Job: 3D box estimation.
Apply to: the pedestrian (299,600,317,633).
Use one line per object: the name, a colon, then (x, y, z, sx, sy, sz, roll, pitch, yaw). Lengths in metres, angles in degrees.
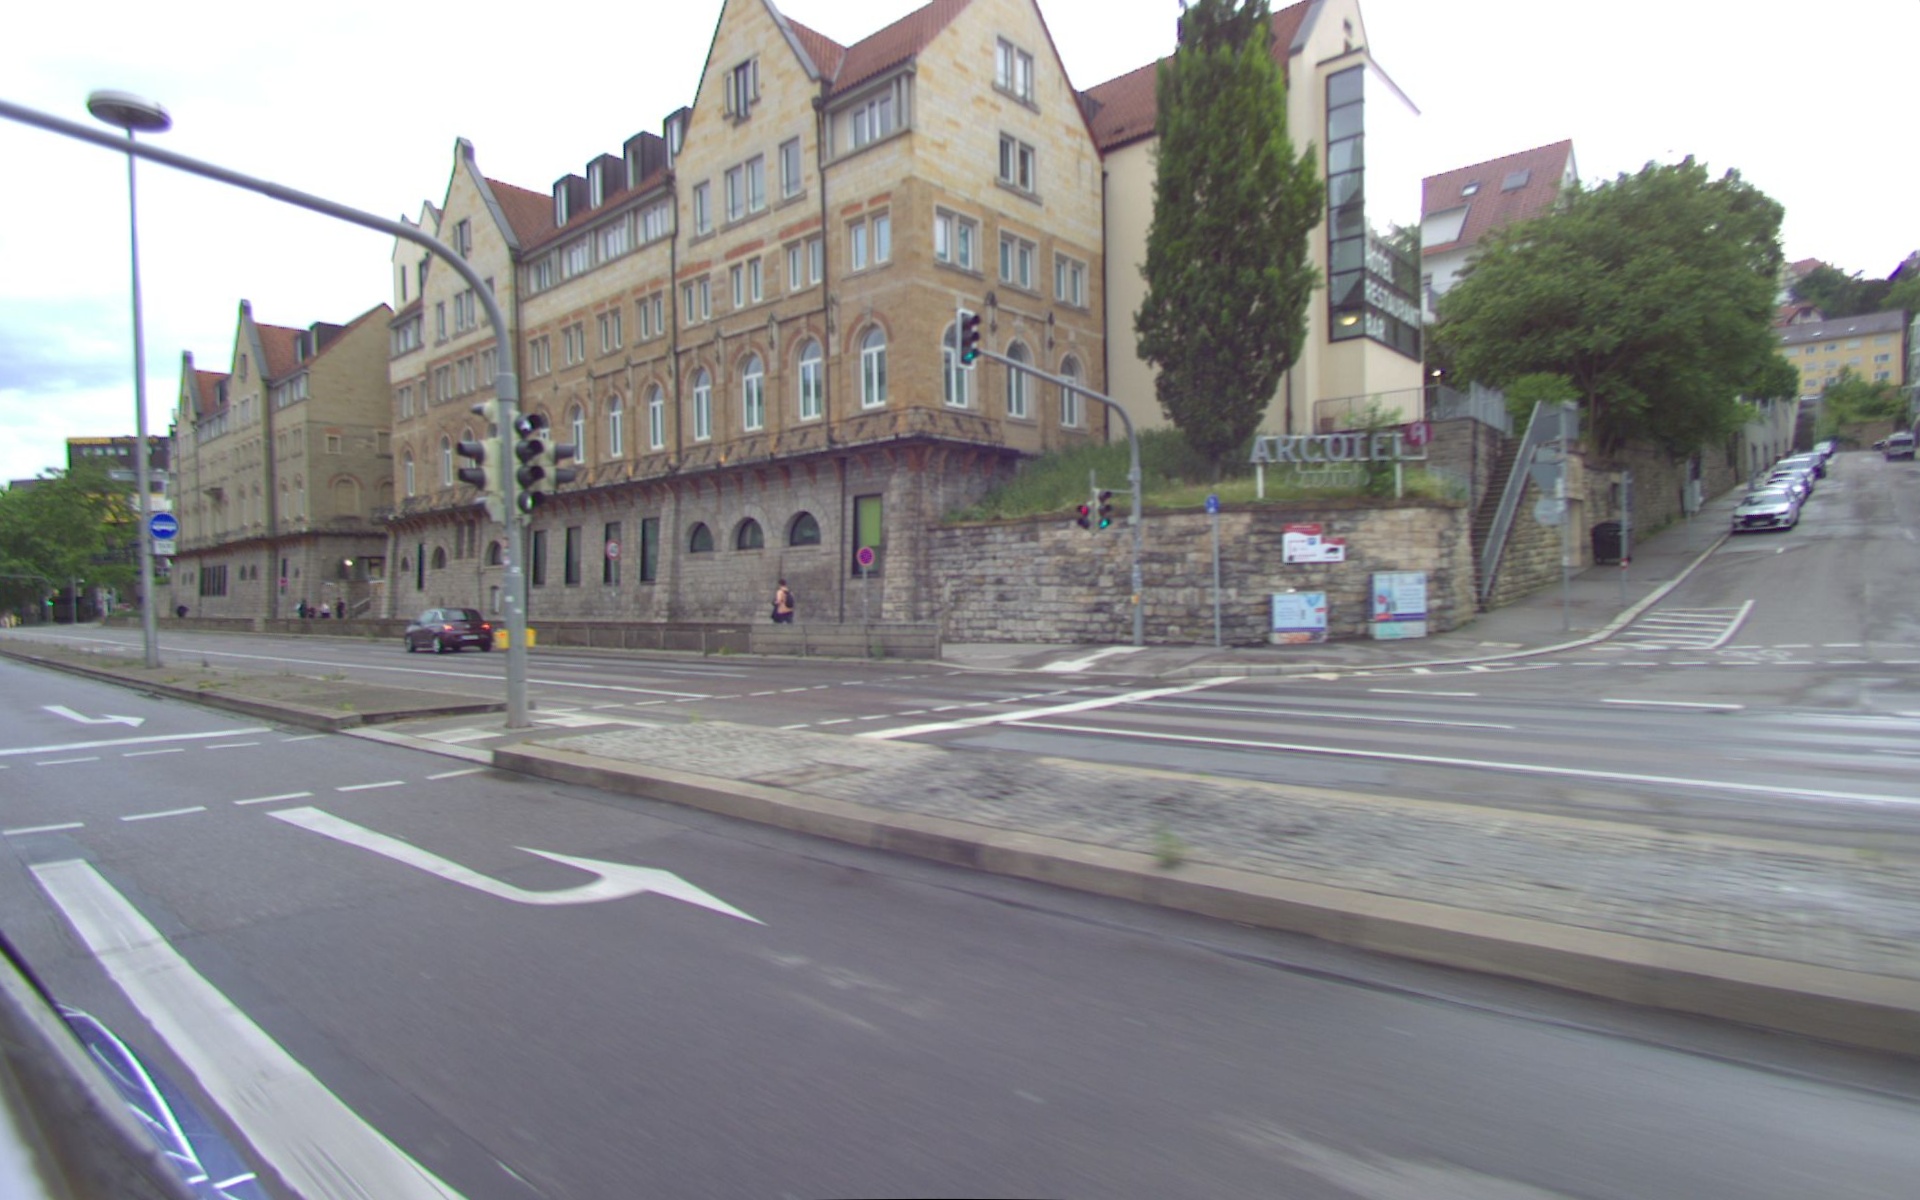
pedestrian: (-35.587, 0.905, 55.250, 0.683, 1.792, 0.669, 1, 1, 41)

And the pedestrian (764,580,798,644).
pedestrian: (-5.074, 0.328, 28.694, 0.683, 1.792, 0.669, 1, 1, 41)

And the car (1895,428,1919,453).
car: (90.313, -15.181, 96.212, 2.000, 2.104, 3.946, 1, 7, 43)

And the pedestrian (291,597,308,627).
pedestrian: (-39.216, 0.695, 60.104, 0.683, 1.792, 0.669, 1, 1, 41)

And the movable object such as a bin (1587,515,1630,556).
movable object such as a bin: (21.737, -2.158, 33.926, 1.117, 1.252, 0.817, 1, 9, 40)

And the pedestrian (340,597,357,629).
pedestrian: (-34.984, 0.745, 57.891, 0.683, 1.792, 0.669, 1, 1, 41)

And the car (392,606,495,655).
car: (-17.187, 0.989, 33.611, 3.999, 1.475, 1.693, -1, 1, 42)

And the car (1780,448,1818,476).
car: (56.030, -9.198, 67.586, 1.814, 1.695, 3.947, 1, 6, 42)

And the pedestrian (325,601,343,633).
pedestrian: (-35.502, 0.972, 57.380, 0.683, 1.792, 0.669, 1, 1, 41)

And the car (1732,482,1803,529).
car: (32.718, -3.840, 40.980, 2.052, 1.695, 3.947, 1, 6, 42)

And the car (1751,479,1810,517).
car: (36.531, -4.538, 45.040, 1.863, 1.465, 3.853, 1, 6, 42)
